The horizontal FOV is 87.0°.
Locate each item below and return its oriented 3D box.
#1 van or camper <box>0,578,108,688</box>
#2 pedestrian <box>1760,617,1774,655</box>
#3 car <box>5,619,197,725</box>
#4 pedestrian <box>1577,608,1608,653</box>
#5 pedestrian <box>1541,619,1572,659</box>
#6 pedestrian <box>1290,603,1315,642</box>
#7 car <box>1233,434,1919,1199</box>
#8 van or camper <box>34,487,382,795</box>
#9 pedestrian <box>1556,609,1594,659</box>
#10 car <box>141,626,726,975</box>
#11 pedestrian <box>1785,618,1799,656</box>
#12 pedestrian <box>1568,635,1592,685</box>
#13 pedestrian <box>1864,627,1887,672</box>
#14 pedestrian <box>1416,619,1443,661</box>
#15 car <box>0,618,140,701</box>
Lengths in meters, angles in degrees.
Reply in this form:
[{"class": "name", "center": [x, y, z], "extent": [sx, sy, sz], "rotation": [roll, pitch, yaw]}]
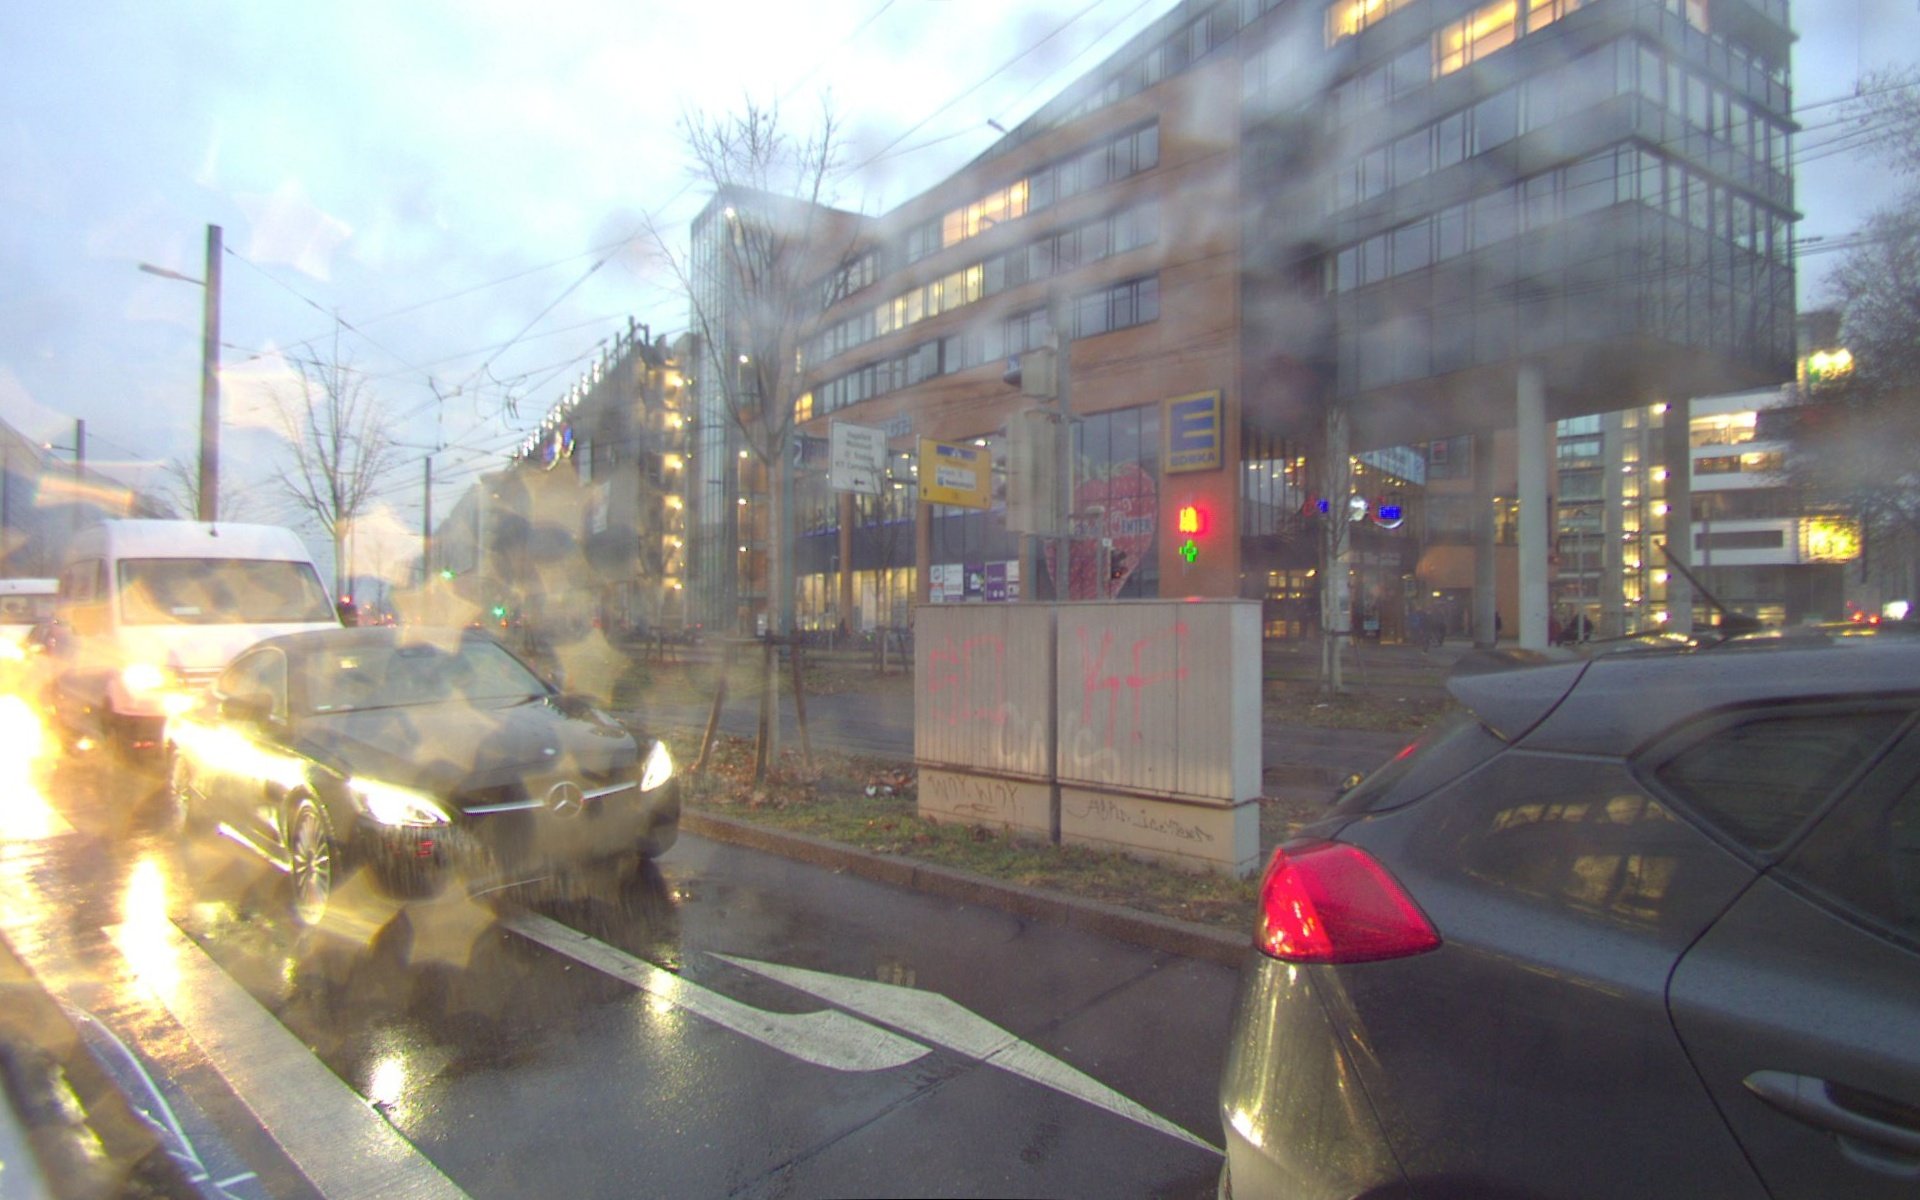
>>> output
[{"class": "van or camper", "center": [-22.207, 0.752, 24.356], "extent": [2.155, 2.370, 5.653], "rotation": [-1, 0, -44]}, {"class": "pedestrian", "center": [38.320, 1.702, 48.061], "extent": [0.446, 1.764, 0.645], "rotation": [-1, -2, 41]}, {"class": "car", "center": [-13.540, 1.037, 15.876], "extent": [3.951, 1.409, 1.801], "rotation": [-1, 0, 42]}, {"class": "pedestrian", "center": [24.209, 1.166, 38.726], "extent": [0.715, 1.721, 0.696], "rotation": [1, -2, -20]}, {"class": "pedestrian", "center": [25.739, 1.673, 43.669], "extent": [0.910, 1.721, 0.696], "rotation": [1, -2, -20]}, {"class": "pedestrian", "center": [13.690, 0.898, 40.463], "extent": [0.642, 1.515, 0.695], "rotation": [2, -3, -40]}, {"class": "car", "center": [2.366, 0.617, 0.914], "extent": [3.760, 1.585, 1.662], "rotation": [-1, -2, 42]}, {"class": "van or camper", "center": [-8.533, 0.362, 11.198], "extent": [5.885, 2.567, 2.034], "rotation": [-1, 0, 43]}, {"class": "pedestrian", "center": [23.422, 1.303, 38.551], "extent": [0.762, 1.860, 0.925], "rotation": [1, -2, -20]}, {"class": "car", "center": [-3.420, 0.857, 6.155], "extent": [4.224, 1.342, 1.800], "rotation": [-1, 0, 42]}, {"class": "pedestrian", "center": [39.228, 1.745, 47.715], "extent": [0.446, 1.764, 0.645], "rotation": [-1, -2, 41]}, {"class": "pedestrian", "center": [16.259, 1.565, 26.533], "extent": [0.495, 1.274, 0.440], "rotation": [-1, 0, 37]}, {"class": "pedestrian", "center": [34.797, 1.862, 38.464], "extent": [0.560, 1.696, 0.590], "rotation": [-1, -2, 37]}, {"class": "pedestrian", "center": [17.355, 1.474, 37.419], "extent": [0.642, 1.515, 0.695], "rotation": [2, -3, -40]}, {"class": "car", "center": [-17.547, 1.090, 19.760], "extent": [3.951, 1.409, 1.801], "rotation": [-1, 0, 42]}]
